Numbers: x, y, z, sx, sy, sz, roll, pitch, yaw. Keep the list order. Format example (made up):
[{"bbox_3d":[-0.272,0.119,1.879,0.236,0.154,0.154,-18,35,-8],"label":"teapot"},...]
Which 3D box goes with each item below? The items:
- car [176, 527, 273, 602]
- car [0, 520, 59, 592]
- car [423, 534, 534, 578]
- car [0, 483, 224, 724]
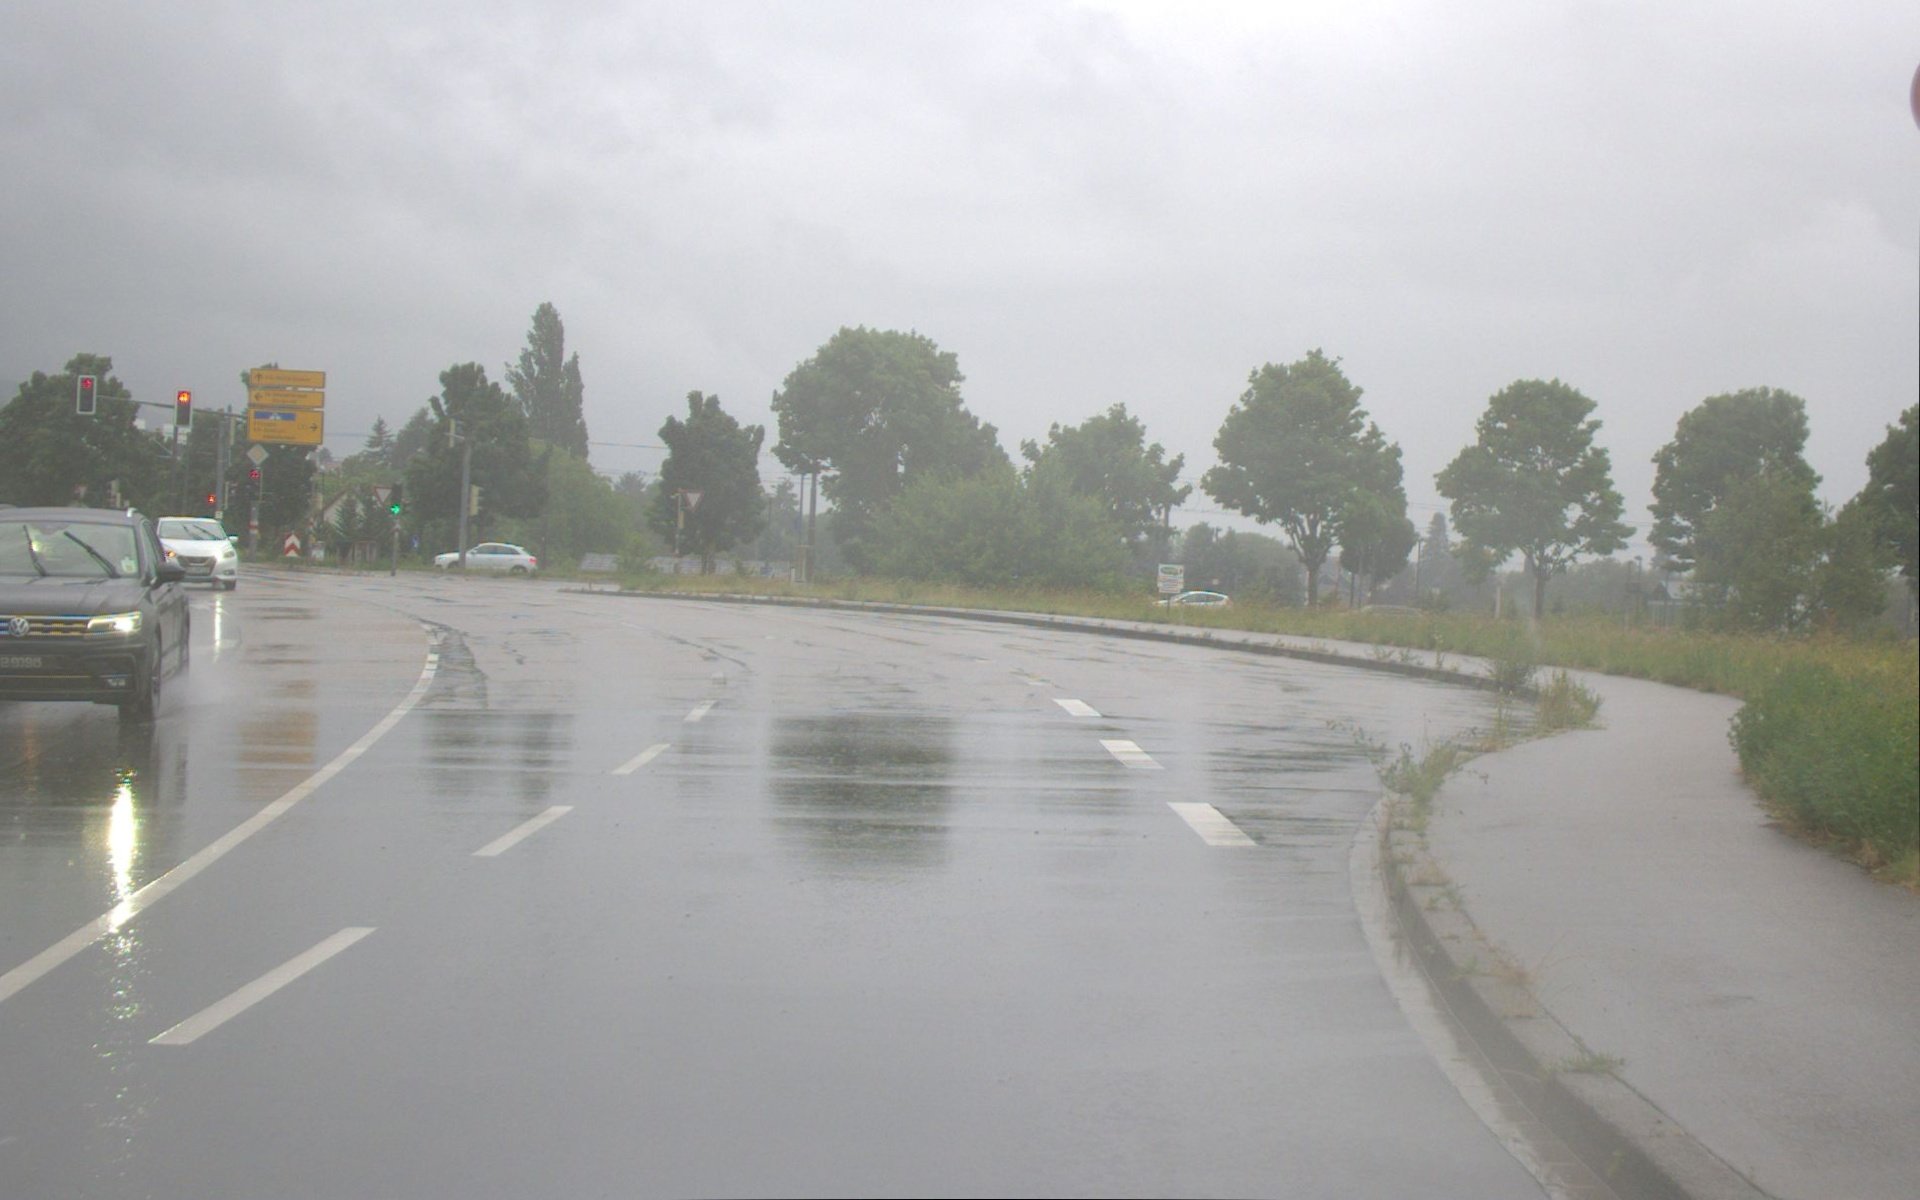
[{"bbox_3d":[-15.207,-0.748,71.213,1.739,1.482,4.012,1,1,-9],"label":"car"},{"bbox_3d":[-22.646,-1.083,82.381,1.883,1.582,4.120,4,0,-14],"label":"car"},{"bbox_3d":[-20.154,-1.858,143.899,4.374,1.574,1.733,3,1,-15],"label":"car"},{"bbox_3d":[-7.076,-0.021,27.078,1.924,1.737,4.289,1,1,-5],"label":"car"}]
